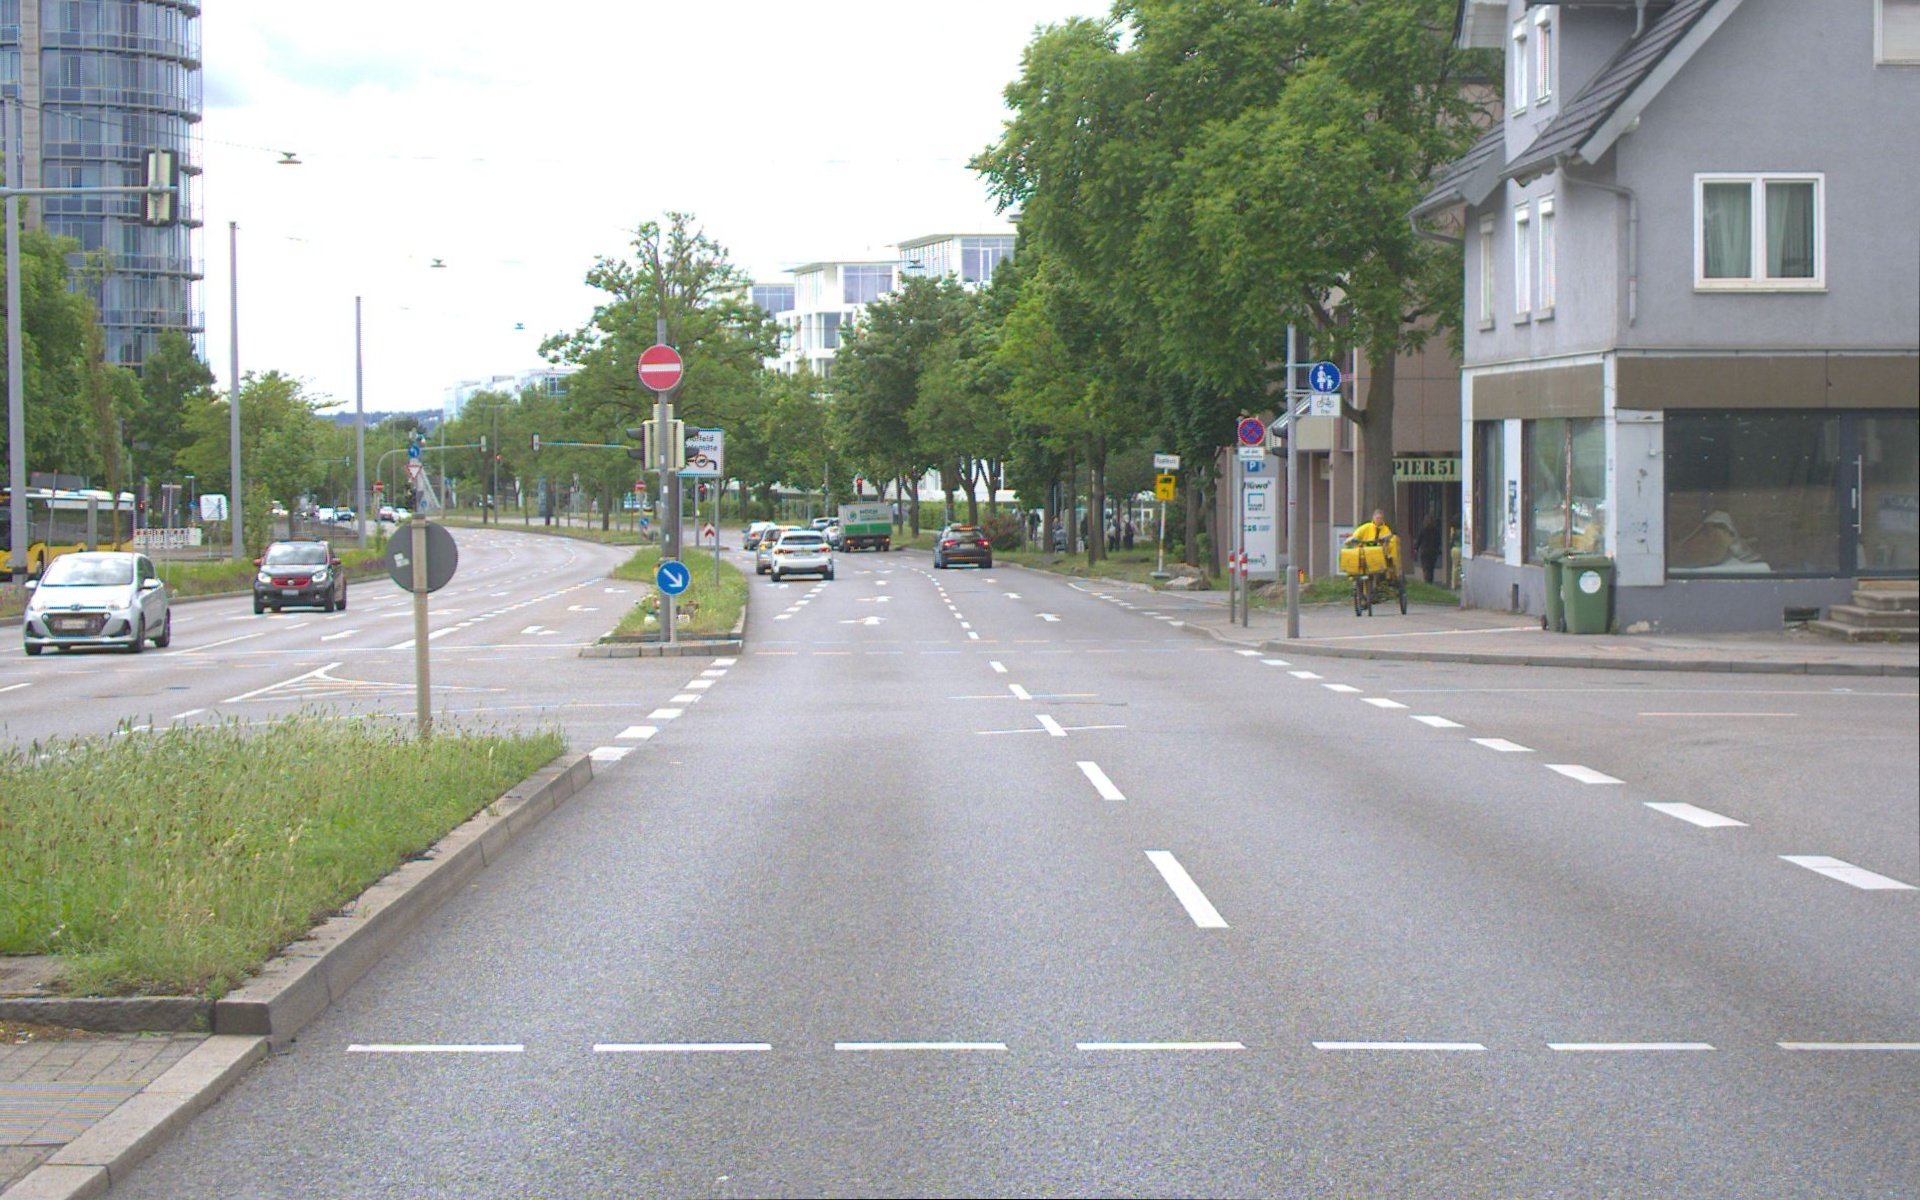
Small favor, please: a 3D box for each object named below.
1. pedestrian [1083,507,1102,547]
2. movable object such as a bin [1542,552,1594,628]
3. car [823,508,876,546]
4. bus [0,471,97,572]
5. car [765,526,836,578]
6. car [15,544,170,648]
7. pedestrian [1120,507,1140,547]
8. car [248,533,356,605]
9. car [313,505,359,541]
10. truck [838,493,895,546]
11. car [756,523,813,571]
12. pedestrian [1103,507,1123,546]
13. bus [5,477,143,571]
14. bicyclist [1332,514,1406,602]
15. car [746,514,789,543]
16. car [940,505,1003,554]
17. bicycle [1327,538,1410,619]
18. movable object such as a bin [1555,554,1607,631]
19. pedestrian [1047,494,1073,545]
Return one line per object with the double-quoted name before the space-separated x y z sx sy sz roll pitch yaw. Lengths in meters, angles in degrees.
"pedestrian" 5.272 -2.905 136.681 0.650 1.564 0.671 -1 1 -8
"movable object such as a bin" 7.926 -0.136 44.842 0.529 0.976 0.736 -1 1 -1
"car" -5.318 -3.490 165.068 2.251 1.751 4.934 -1 1 -5
"bus" -31.403 -2.576 114.467 3.144 3.214 10.286 -1 1 -3
"car" -4.687 -1.428 101.333 1.993 1.472 4.256 -1 1 -1
"car" -12.810 -0.090 50.927 1.684 1.457 3.556 -1 1 -5
"pedestrian" 6.767 -2.911 136.613 0.650 1.564 0.671 -1 1 -8
"car" -14.173 -0.679 74.215 1.702 1.487 3.562 -1 1 -1
"car" -36.343 -4.481 200.263 1.965 2.007 4.000 1 1 -1
"truck" -4.273 -3.657 156.471 2.251 2.408 4.934 0 1 -5
"car" -5.763 -1.742 112.698 1.822 1.535 4.115 0 1 -3
"pedestrian" 6.081 -2.921 136.531 0.650 1.564 0.671 -1 1 -8
"bus" -31.742 -2.718 123.470 3.144 3.214 7.766 -1 1 -2
"bicyclist" 6.331 -0.654 53.217 1.074 1.352 0.627 -1 1 12
"car" -9.700 -3.610 173.154 1.967 1.415 4.023 -1 1 -5
"car" 0.375 -2.363 116.393 1.889 1.489 4.099 -2 0 -3
"bicycle" 6.343 -0.348 53.245 1.074 1.213 2.438 -1 1 11
"movable object such as a bin" 7.955 -0.102 44.052 0.529 0.976 0.736 -1 1 -1
"pedestrian" 3.997 -3.213 137.118 0.971 2.007 0.981 1 0 -1
